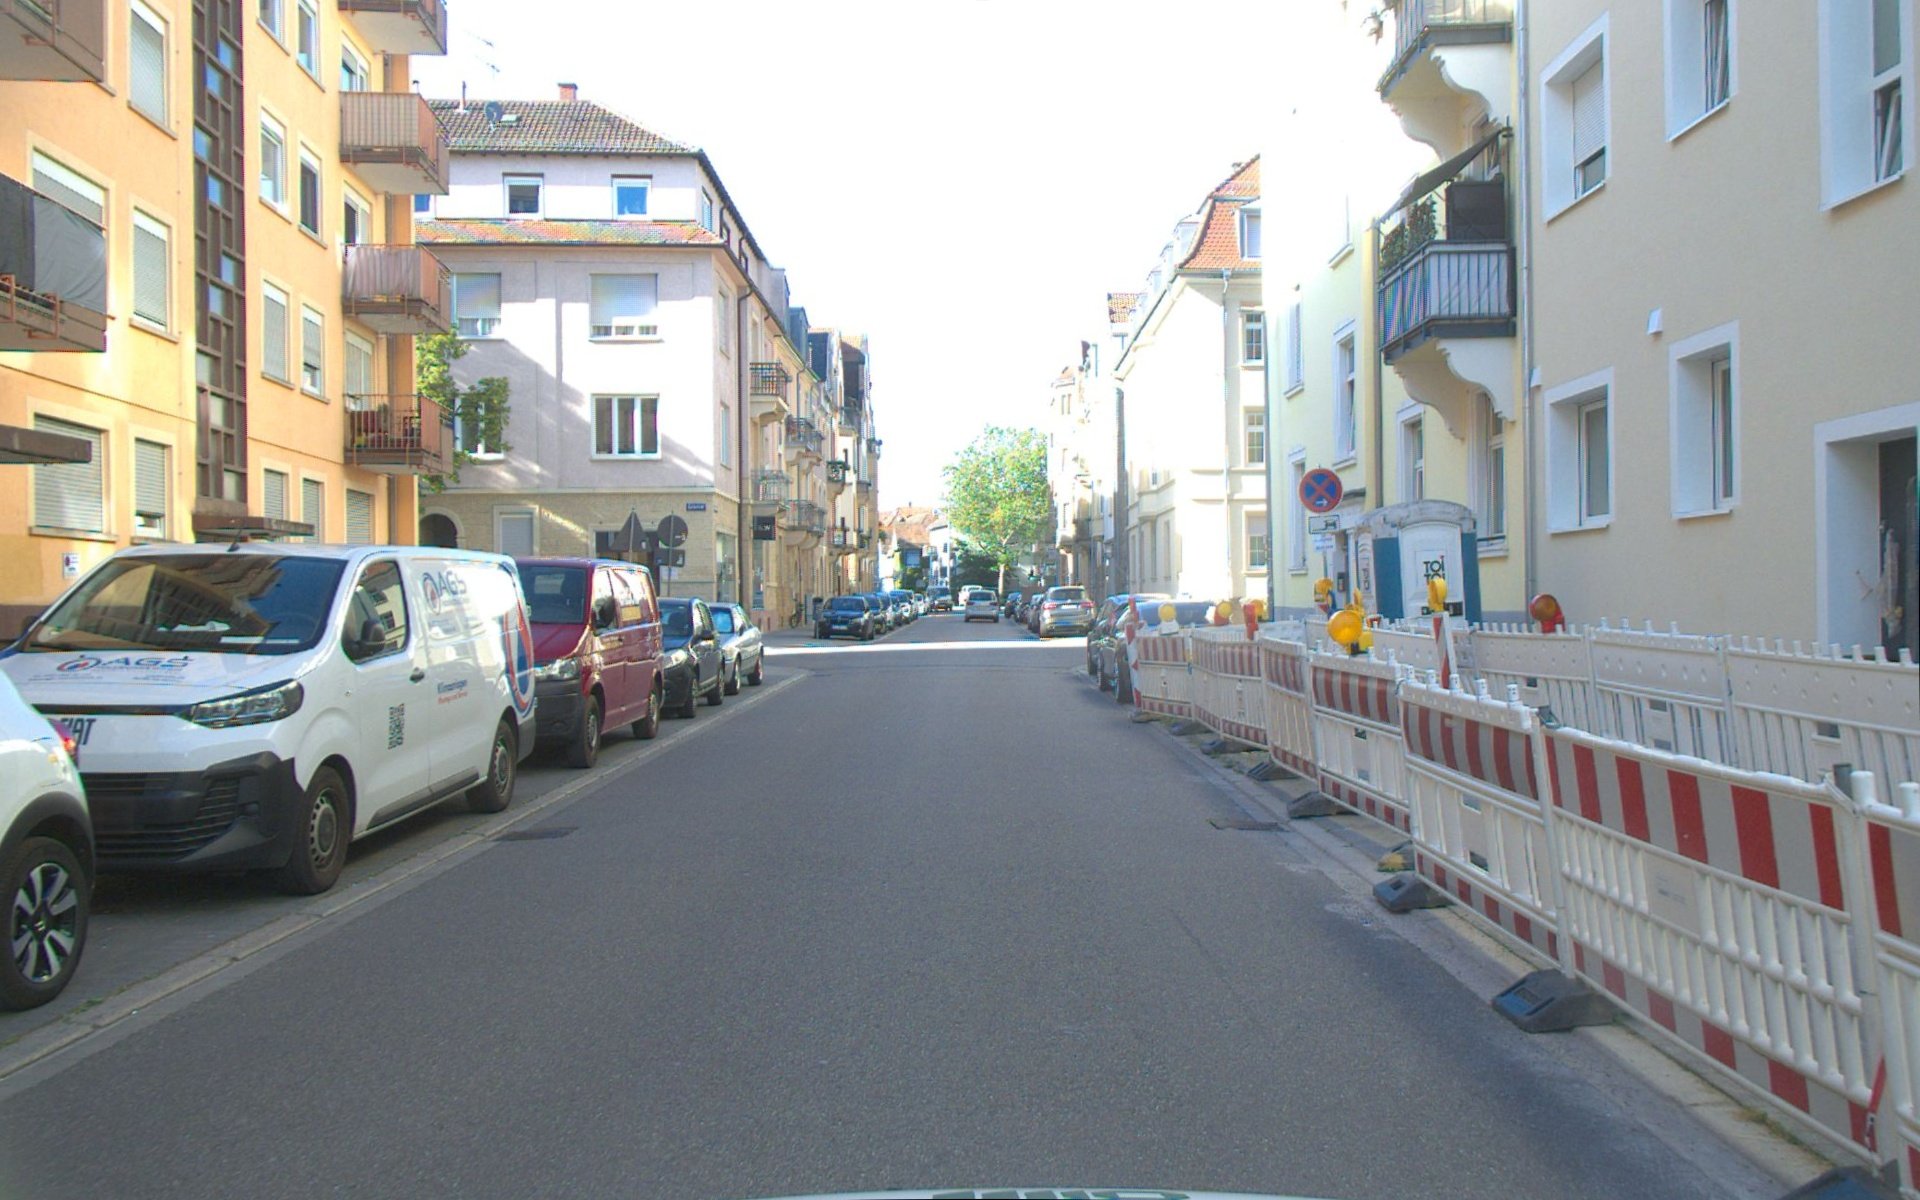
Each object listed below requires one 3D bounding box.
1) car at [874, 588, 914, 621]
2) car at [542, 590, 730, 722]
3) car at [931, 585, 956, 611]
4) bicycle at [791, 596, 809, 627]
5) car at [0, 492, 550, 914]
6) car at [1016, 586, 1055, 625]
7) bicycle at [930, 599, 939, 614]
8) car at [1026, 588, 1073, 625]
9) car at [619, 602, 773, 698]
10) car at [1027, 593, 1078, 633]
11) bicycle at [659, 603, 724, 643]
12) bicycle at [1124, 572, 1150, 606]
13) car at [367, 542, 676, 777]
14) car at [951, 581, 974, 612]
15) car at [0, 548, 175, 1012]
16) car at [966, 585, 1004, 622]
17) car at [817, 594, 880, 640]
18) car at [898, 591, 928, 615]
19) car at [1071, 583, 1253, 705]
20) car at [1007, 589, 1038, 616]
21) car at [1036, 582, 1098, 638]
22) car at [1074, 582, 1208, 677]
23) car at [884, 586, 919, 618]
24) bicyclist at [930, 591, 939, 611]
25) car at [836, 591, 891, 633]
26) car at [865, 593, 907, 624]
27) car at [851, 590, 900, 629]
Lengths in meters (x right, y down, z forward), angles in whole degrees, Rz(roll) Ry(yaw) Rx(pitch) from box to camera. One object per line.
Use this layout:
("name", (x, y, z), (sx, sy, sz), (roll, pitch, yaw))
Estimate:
("car", (-3.442, 0.258, 87.064), (1.963, 1.647, 4.486), (0, -1, -1))
("car", (-4.229, 0.669, 22.156), (1.727, 1.528, 3.999), (-2, 0, -1))
("car", (-1.308, -0.144, 131.712), (1.963, 2.035, 4.486), (0, -1, -1))
("bicycle", (-6.854, 0.479, 71.071), (0.529, 1.324, 1.867), (-1, 0, 1))
("car", (-4.228, 0.476, 10.425), (1.935, 1.959, 5.309), (-1, 0, 0))
("car", (3.788, 0.316, 83.827), (1.801, 1.818, 4.029), (-2, -2, 1))
("bicycle", (-1.887, 0.488, 122.930), (0.649, 1.037, 2.066), (-3, 0, -1))
("car", (3.828, 0.299, 71.036), (1.801, 1.456, 4.029), (-3, -1, 1))
("car", (-4.252, 0.760, 27.268), (1.726, 1.401, 4.479), (-1, 0, 1))
("car", (3.633, 0.546, 65.432), (1.801, 1.456, 4.029), (-3, -1, 1))
("bicycle", (-8.026, 0.686, 49.516), (1.862, 1.155, 0.647), (-1, 2, -7))
("bicycle", (6.875, -0.434, 64.324), (0.746, 1.268, 2.592), (-2, 0, 0))
("car", (-4.138, 0.490, 16.482), (1.726, 1.959, 4.935), (-1, 0, 0))
("car", (0.218, -0.295, 146.746), (1.801, 2.578, 4.176), (-3, -2, 1))
("car", (-4.290, 0.661, 5.036), (1.726, 1.649, 4.295), (-1, 0, 0))
("car", (1.328, 0.208, 89.582), (1.962, 1.947, 4.487), (0, -1, 0))
("car", (-3.693, 0.557, 55.220), (1.644, 1.451, 4.275), (0, -1, 2))
("car", (-3.169, 0.214, 112.780), (1.963, 1.633, 4.486), (0, -1, -1))
("car", (2.882, 0.575, 24.725), (1.765, 1.496, 5.109), (-4, 0, -3))
("car", (3.846, 0.167, 102.662), (1.801, 1.456, 4.029), (-3, -2, 1))
("car", (3.495, 0.369, 54.710), (1.874, 1.673, 4.774), (-3, -1, 2))
("car", (3.233, 0.498, 30.351), (1.728, 1.496, 4.082), (-4, 0, -3))
("car", (-3.439, 0.153, 97.936), (1.963, 1.819, 4.486), (0, -1, -1))
("bicyclist", (-1.899, 0.059, 122.950), (0.649, 1.409, 0.754), (-3, -1, -1))
("car", (-3.801, 0.467, 65.752), (1.963, 1.610, 4.486), (0, -1, -1))
("car", (-3.651, 0.421, 82.474), (1.938, 1.508, 4.327), (0, -1, -1))
("car", (-3.730, 0.439, 73.423), (1.963, 1.647, 4.486), (0, -1, -1))
